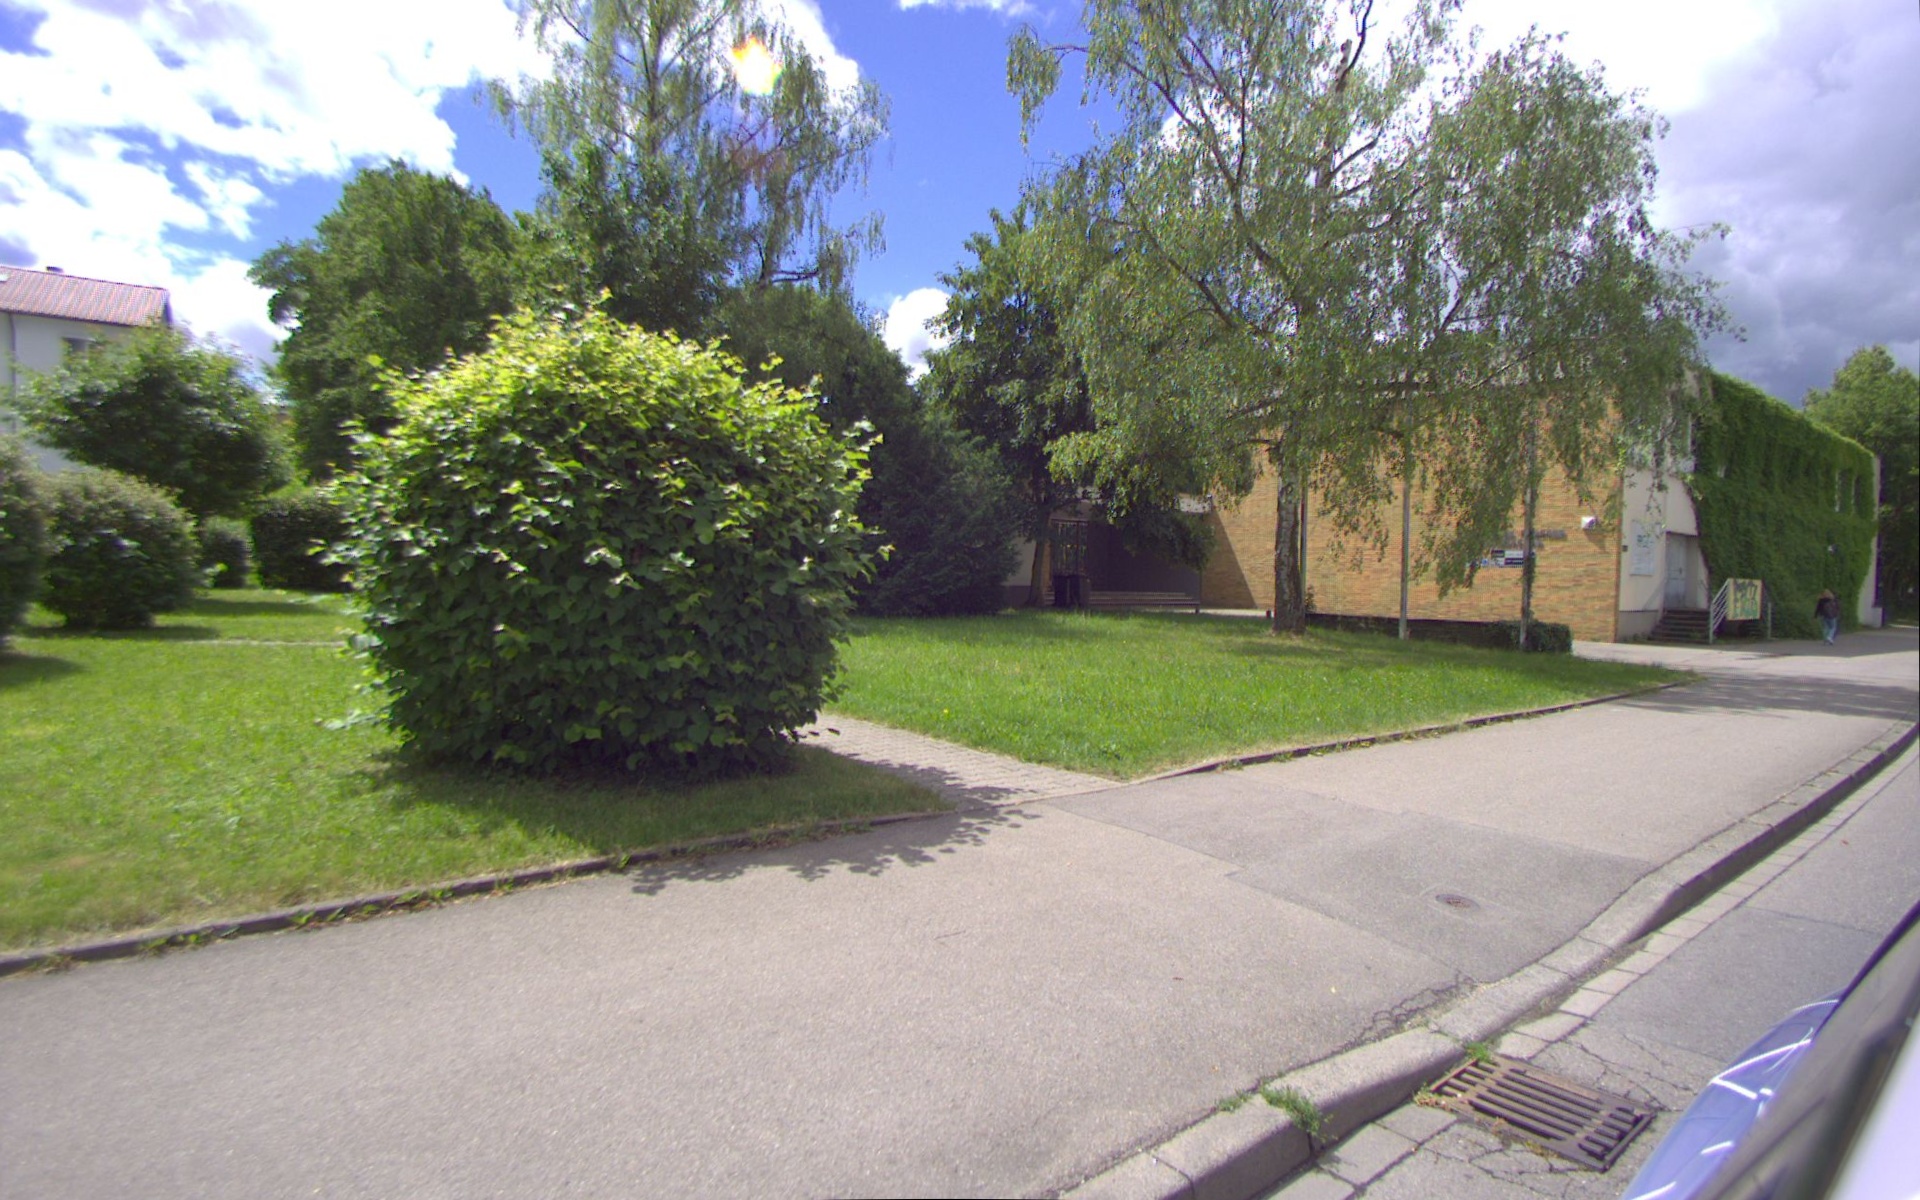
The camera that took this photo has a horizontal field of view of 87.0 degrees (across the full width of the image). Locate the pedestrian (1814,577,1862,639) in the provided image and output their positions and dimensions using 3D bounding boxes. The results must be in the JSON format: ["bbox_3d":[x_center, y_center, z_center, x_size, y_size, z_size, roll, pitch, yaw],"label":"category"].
[{"bbox_3d":[26.613,0.223,30.667,0.801,1.792,0.812,0,4,-34],"label":"pedestrian"}]
